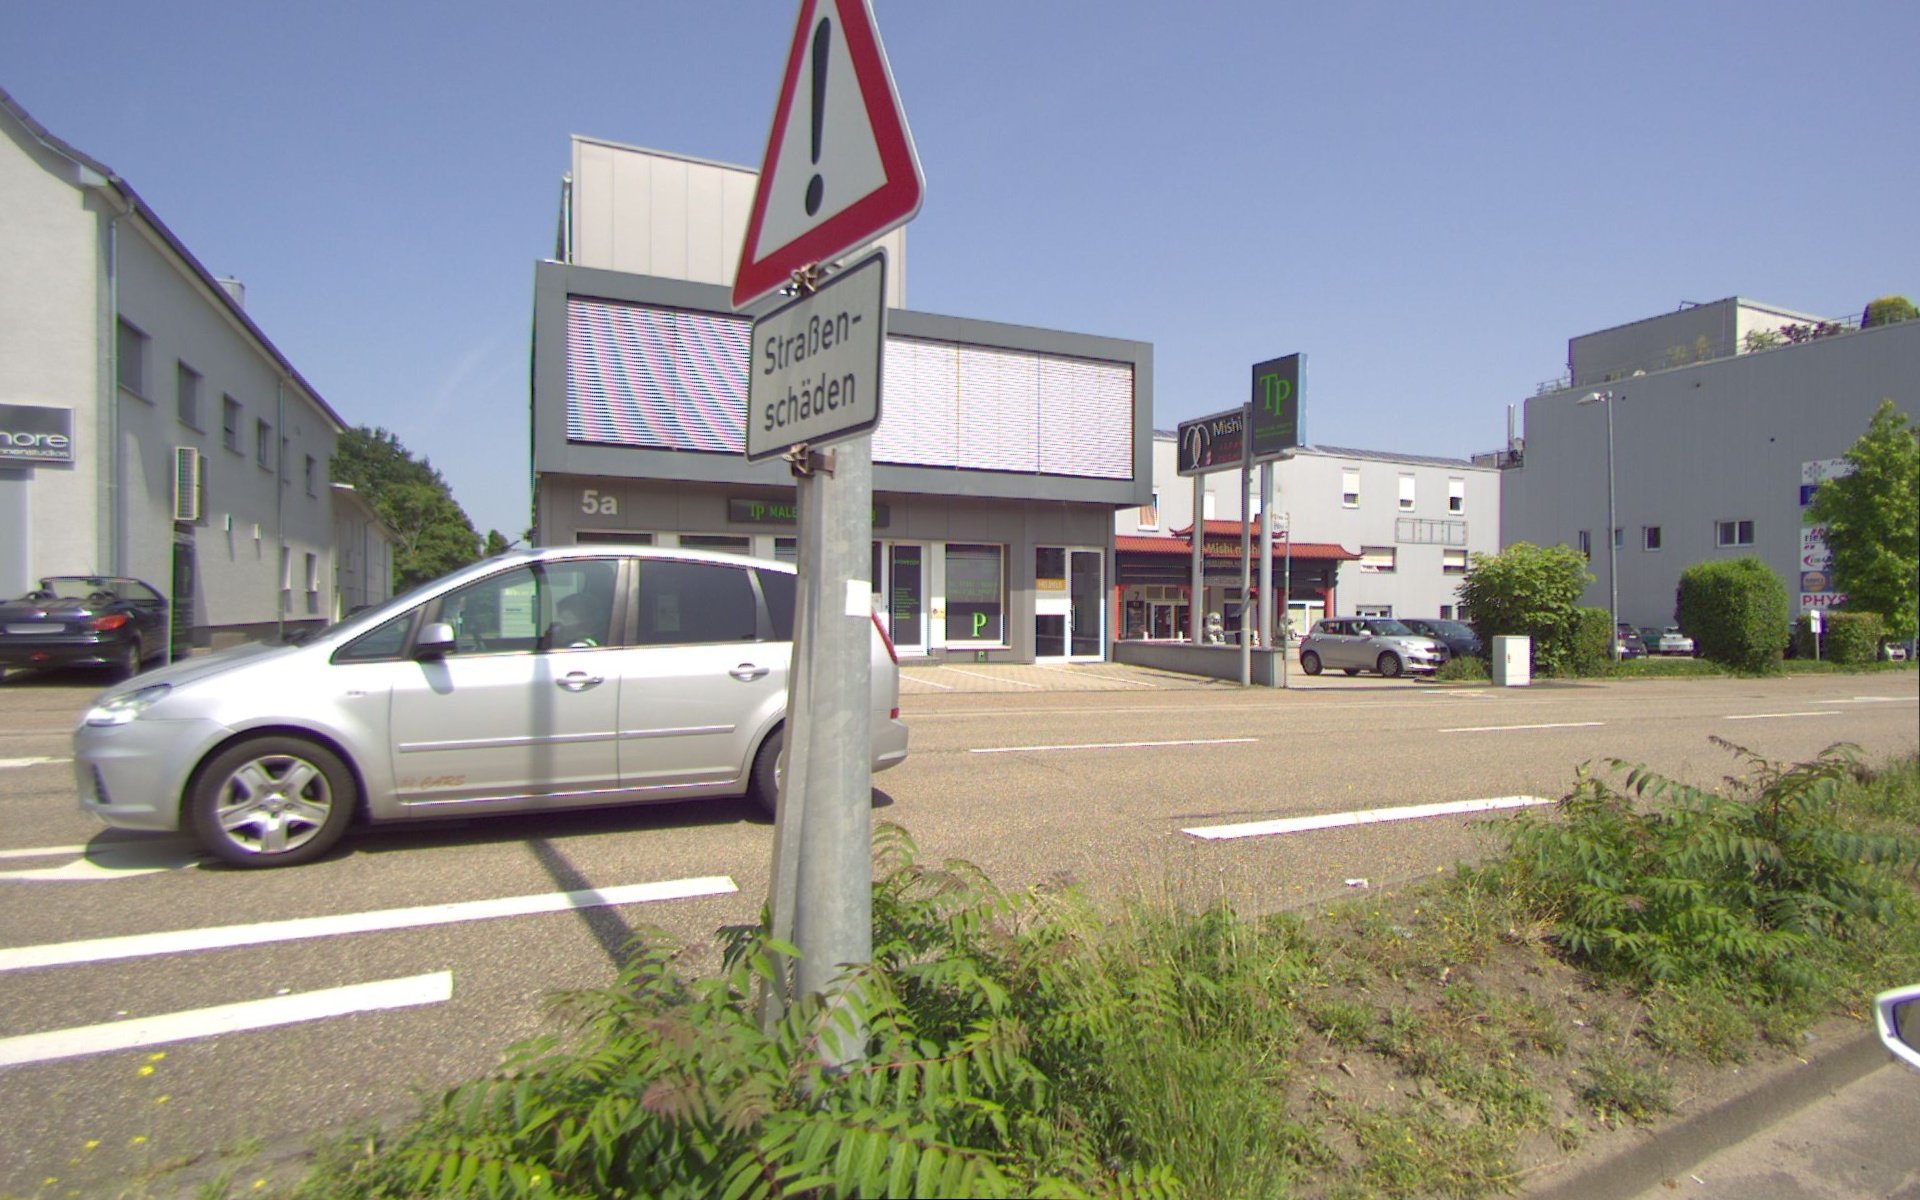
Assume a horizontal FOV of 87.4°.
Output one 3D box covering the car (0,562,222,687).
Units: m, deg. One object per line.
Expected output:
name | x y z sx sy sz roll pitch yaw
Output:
car | -12.248 0.343 14.471 1.975 1.541 4.041 2 -1 -28

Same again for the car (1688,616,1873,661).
car | 26.211 1.213 32.236 2.016 1.360 4.134 0 -2 -27

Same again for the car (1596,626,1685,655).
car | 35.550 2.086 52.479 3.933 1.470 1.729 0 -1 -15

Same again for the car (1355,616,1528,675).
car | 12.466 1.176 26.289 1.645 1.389 3.990 0 -2 -22

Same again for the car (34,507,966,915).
car | -2.279 0.462 5.883 4.287 1.651 1.772 1 2 -29

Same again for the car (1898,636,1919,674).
car | 39.497 2.150 40.144 3.747 1.486 1.654 0 -3 -26

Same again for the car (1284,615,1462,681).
car | 10.157 1.157 24.989 1.557 1.478 3.969 2 -2 -29

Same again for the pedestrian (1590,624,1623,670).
pedestrian | 23.356 1.698 36.305 0.815 1.605 0.639 2 0 -26

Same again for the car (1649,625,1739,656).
car | 36.756 2.023 50.306 3.946 1.390 1.987 3 0 -25

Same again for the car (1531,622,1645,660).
car | 28.812 1.916 46.179 1.976 1.645 3.970 1 -4 -29

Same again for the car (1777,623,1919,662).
car | 30.877 1.430 34.622 1.835 1.246 3.827 0 -2 -25

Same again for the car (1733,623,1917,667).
car | 28.697 1.472 33.472 1.954 1.366 4.211 0 -2 -25
